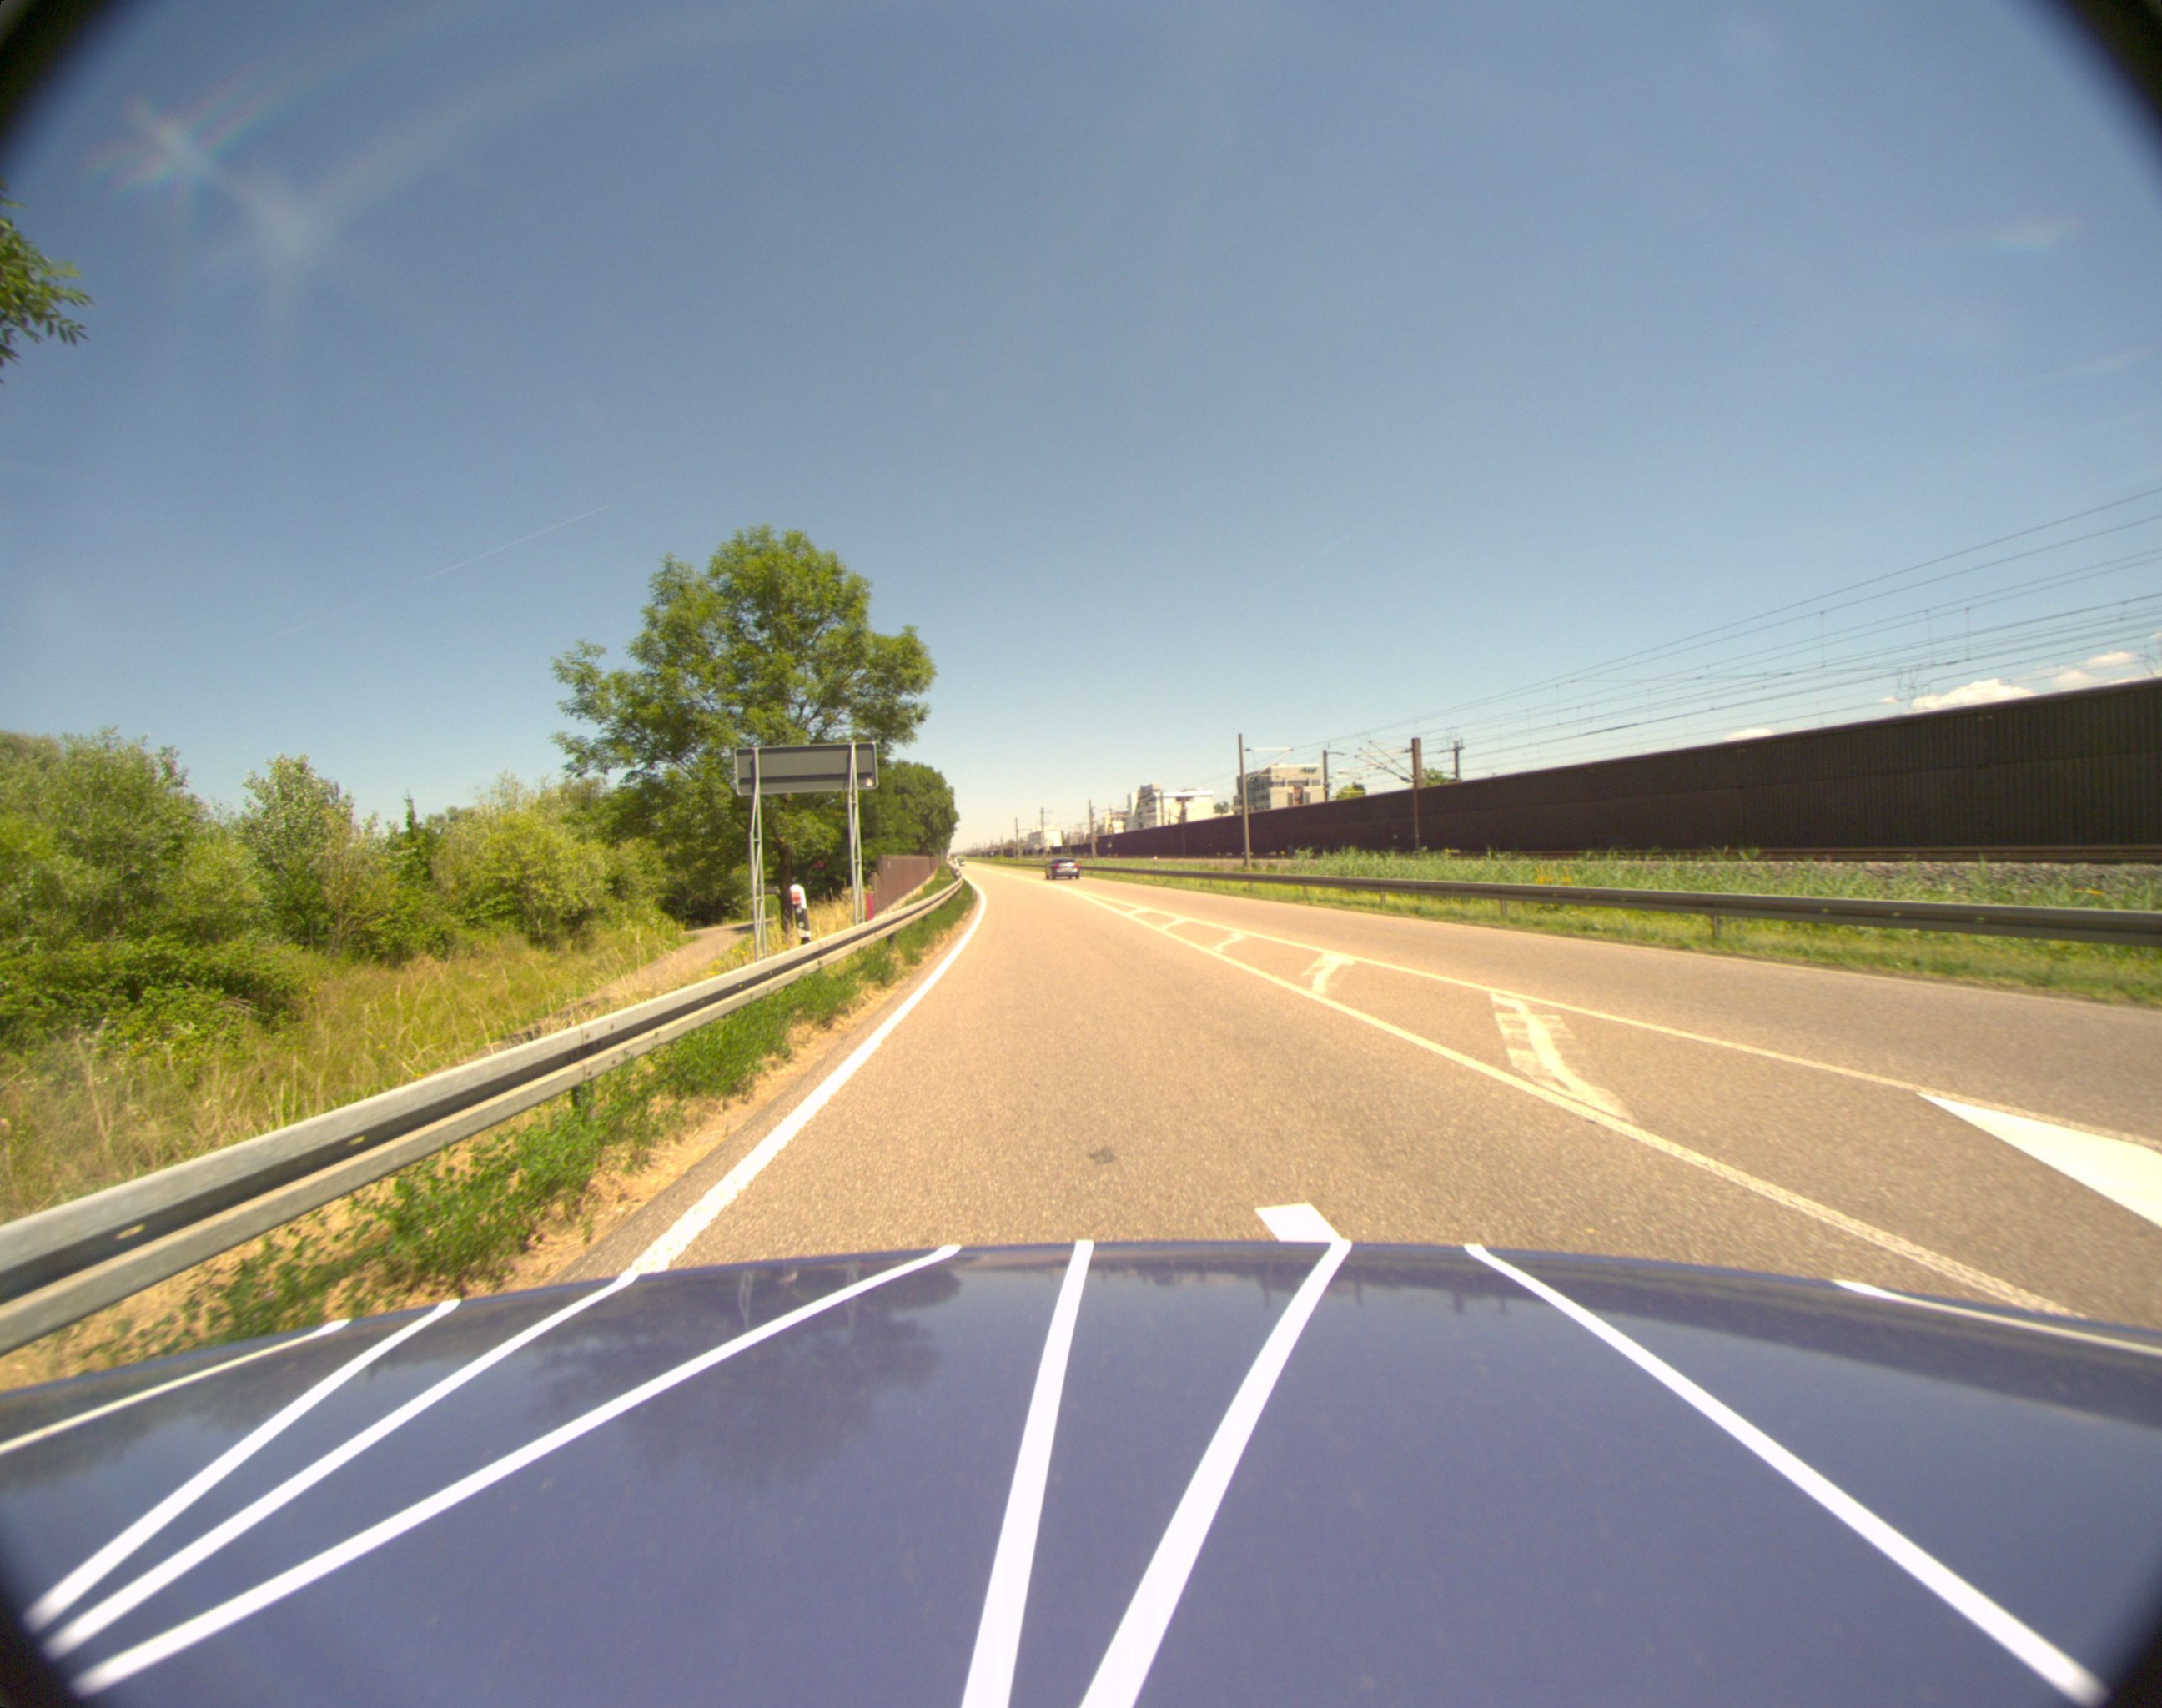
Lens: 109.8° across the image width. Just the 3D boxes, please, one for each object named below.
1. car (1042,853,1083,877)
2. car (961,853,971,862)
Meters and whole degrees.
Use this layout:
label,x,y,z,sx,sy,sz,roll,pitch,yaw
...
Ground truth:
label,x,y,z,sx,sy,sz,roll,pitch,yaw
car,-1.285,0.693,50.673,1.871,1.476,4.883,-2,0,-11
car,-24.440,0.741,161.477,2.000,2.002,3.997,-2,1,-7
